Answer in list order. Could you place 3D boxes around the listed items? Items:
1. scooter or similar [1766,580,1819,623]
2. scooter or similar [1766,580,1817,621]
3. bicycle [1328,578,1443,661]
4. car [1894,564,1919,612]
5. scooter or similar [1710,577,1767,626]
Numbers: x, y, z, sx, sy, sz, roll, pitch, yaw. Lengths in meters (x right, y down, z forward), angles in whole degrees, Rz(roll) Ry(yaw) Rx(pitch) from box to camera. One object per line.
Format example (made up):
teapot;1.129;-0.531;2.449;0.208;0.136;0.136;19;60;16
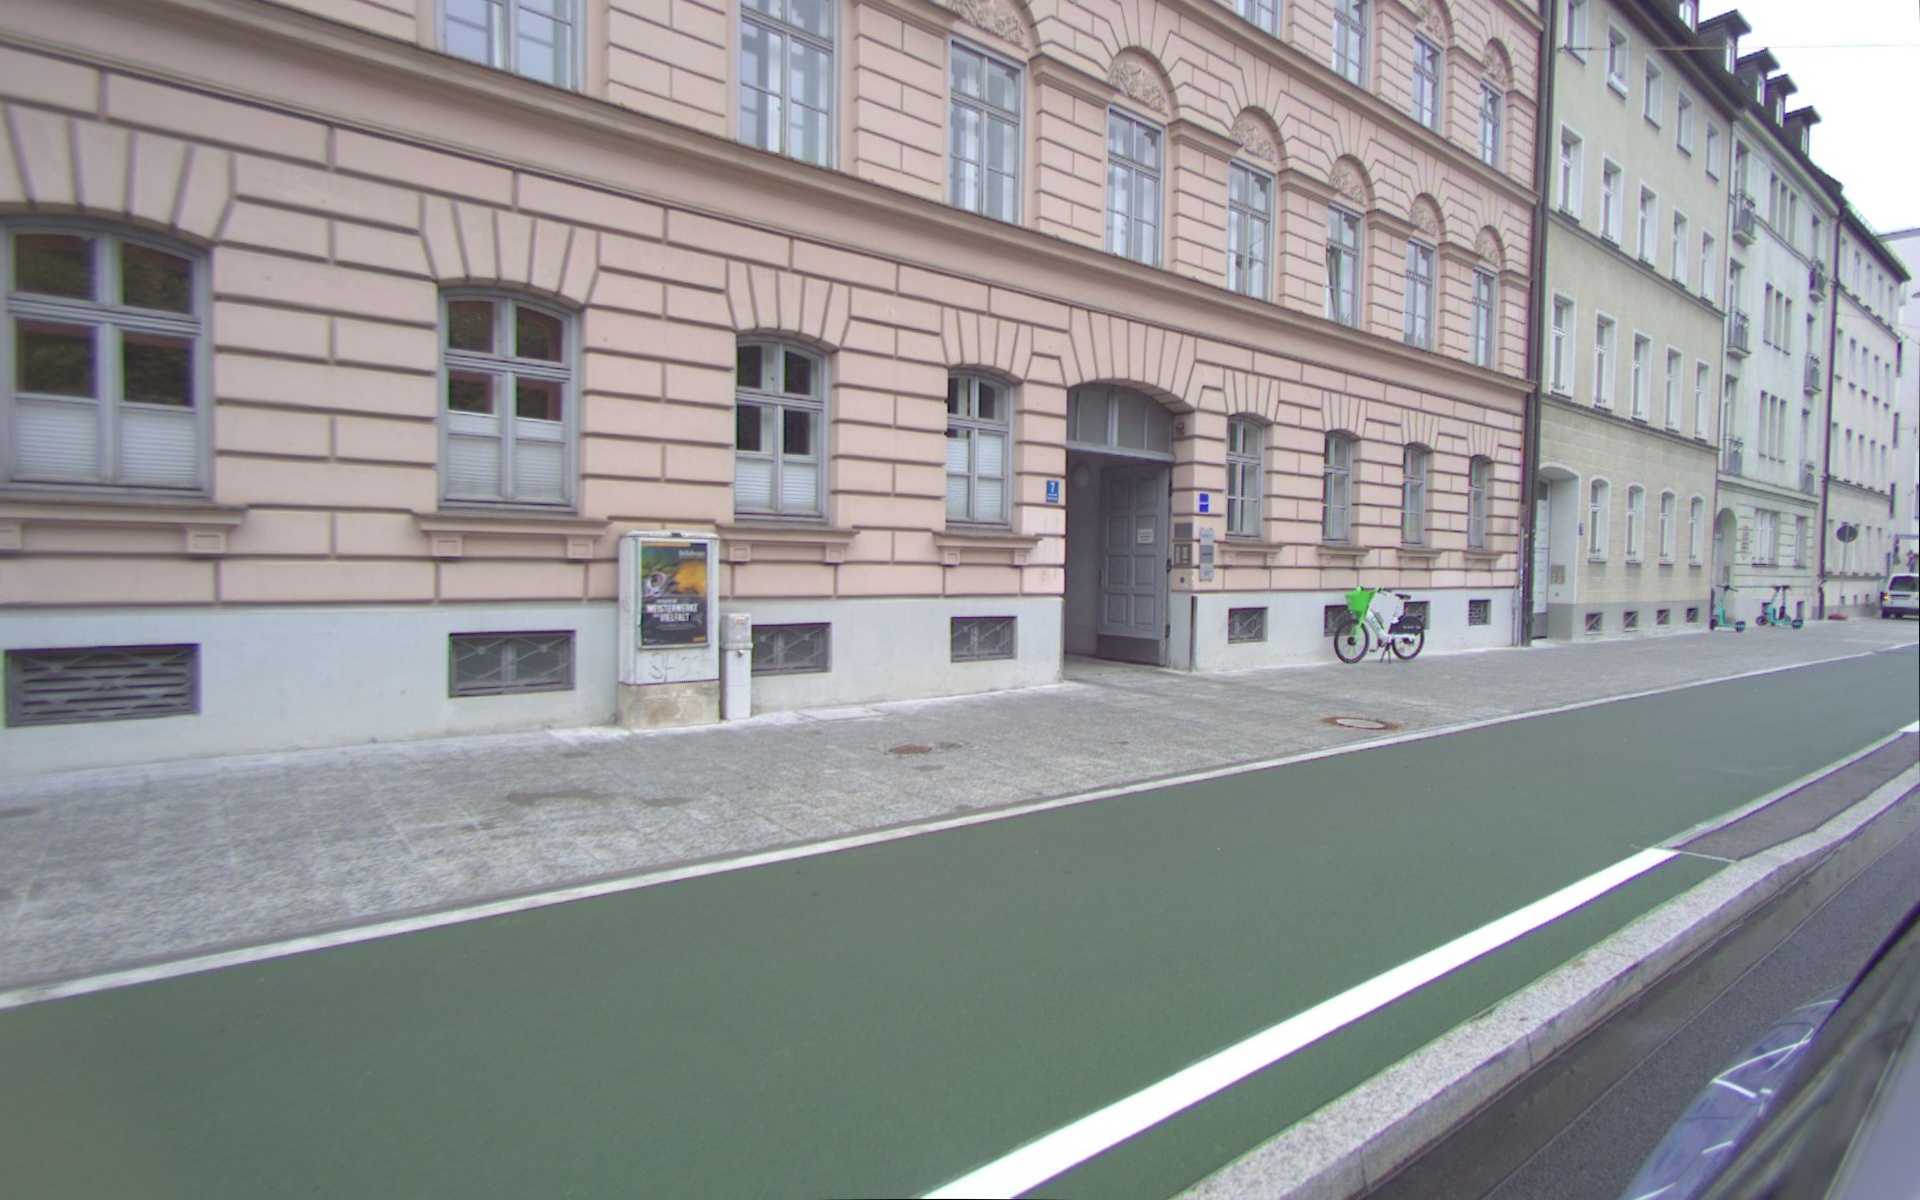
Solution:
scooter or similar;24.377;0.025;29.660;1.064;1.206;0.451;2;2;22
scooter or similar;25.226;0.012;30.702;1.060;1.206;0.435;2;2;12
bicycle;6.431;0.278;15.282;1.689;1.191;0.558;0;2;-24
car;38.422;-0.469;39.939;3.929;1.854;1.766;-1;2;-39
scooter or similar;20.618;0.029;26.820;1.055;1.260;0.554;1;2;-4
